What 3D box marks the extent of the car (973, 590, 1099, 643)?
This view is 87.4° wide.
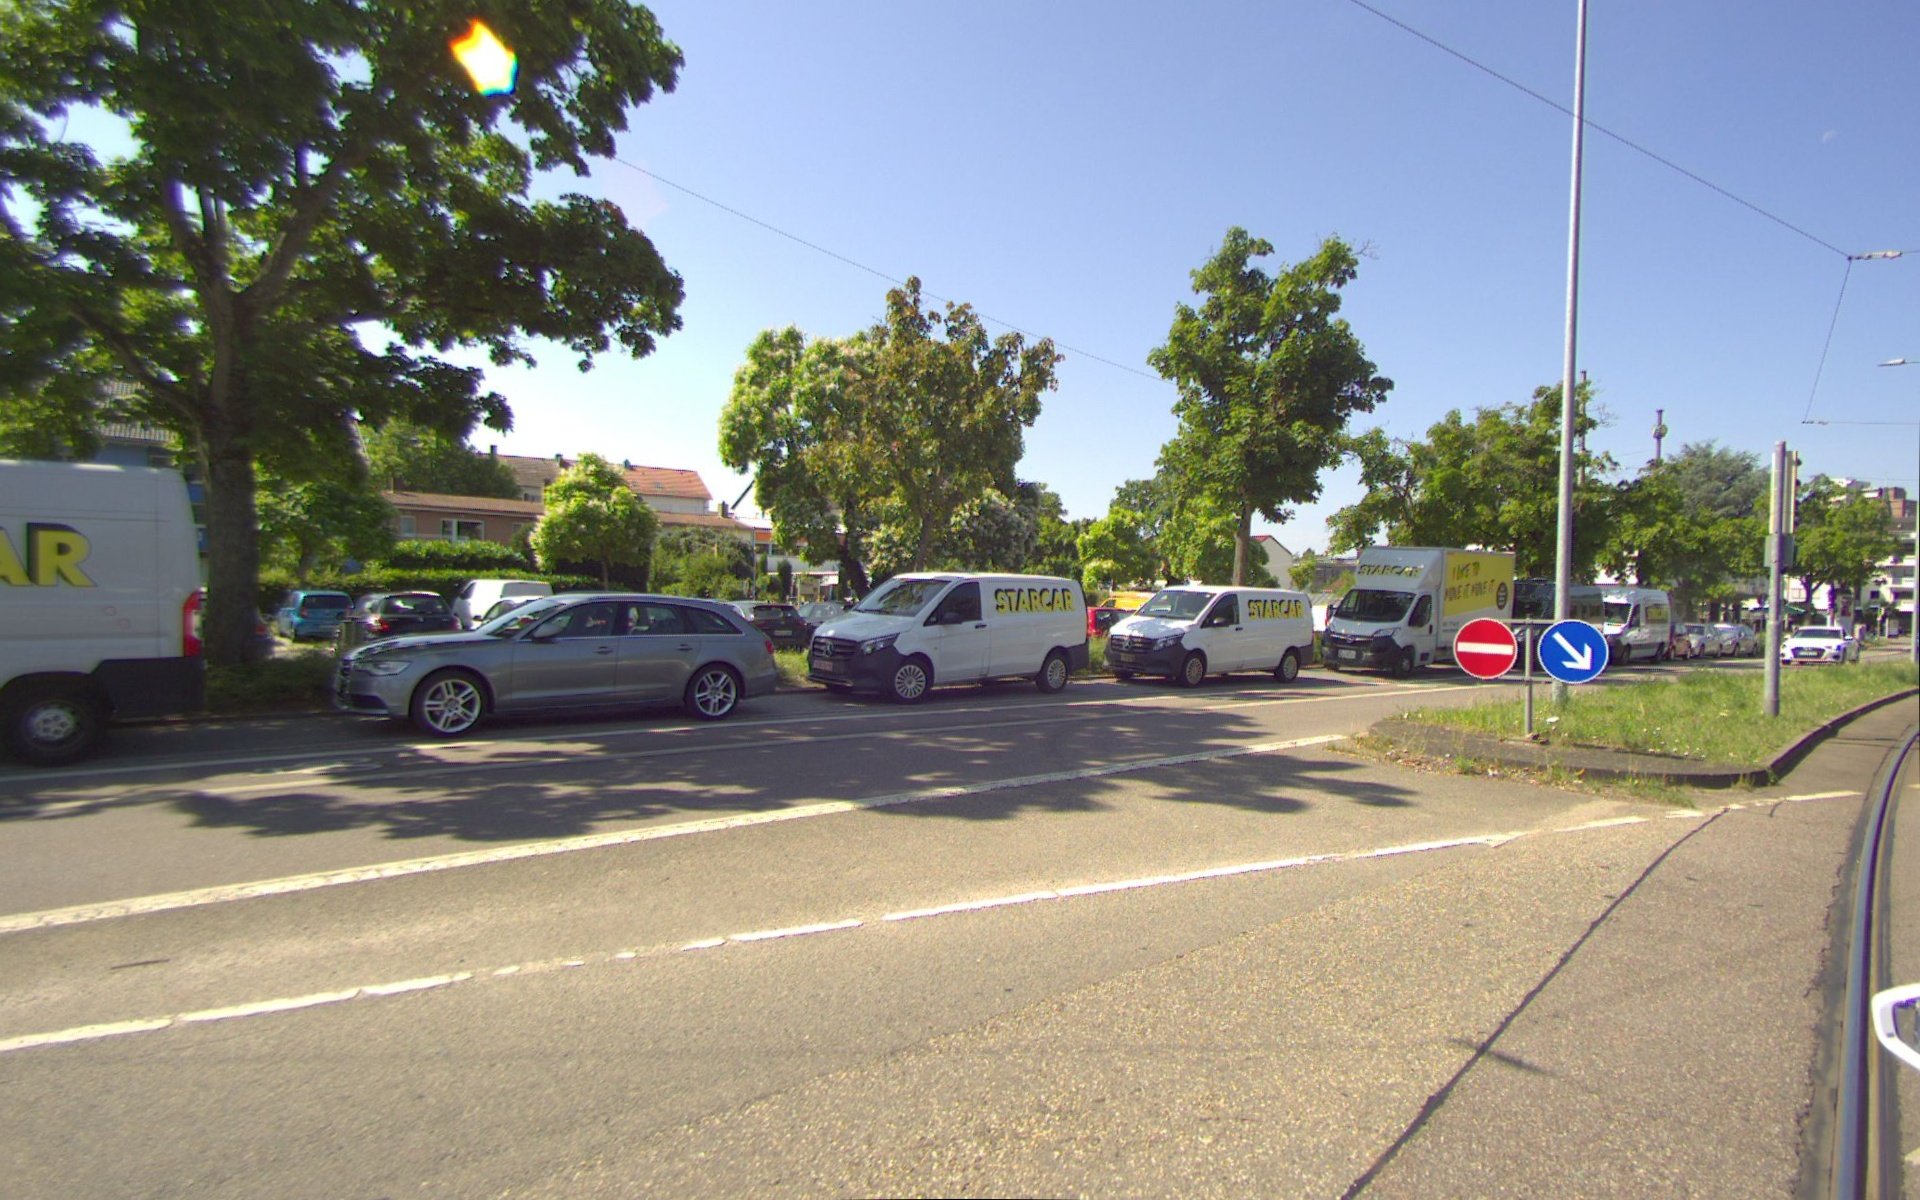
[{"bbox_3d":[2.317,0.480,31.412,1.650,1.564,3.953,1,0,-40],"label":"car"}]

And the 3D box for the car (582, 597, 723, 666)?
[{"bbox_3d":[-7.216,0.675,23.343,1.718,1.428,3.953,1,0,-40],"label":"car"}]

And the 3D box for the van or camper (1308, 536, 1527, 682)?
[{"bbox_3d":[11.763,0.210,25.541,6.714,3.285,2.178,1,2,-39],"label":"van or camper"}]

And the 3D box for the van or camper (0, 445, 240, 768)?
[{"bbox_3d":[-9.448,0.020,7.854,6.094,2.548,2.239,1,0,-39],"label":"van or camper"}]

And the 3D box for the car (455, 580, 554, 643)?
[{"bbox_3d":[-14.878,0.341,32.712,1.773,1.916,3.949,1,0,-43],"label":"car"}]

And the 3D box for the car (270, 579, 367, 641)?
[{"bbox_3d":[-19.348,0.271,30.229,1.773,1.751,3.949,1,0,-43],"label":"car"}]

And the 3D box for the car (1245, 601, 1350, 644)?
[{"bbox_3d":[14.380,0.949,42.975,1.651,1.717,3.951,1,0,-41],"label":"car"}]

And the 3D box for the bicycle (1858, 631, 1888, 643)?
[{"bbox_3d":[80.947,3.278,89.065,2.133,0.934,0.553,1,0,4],"label":"bicycle"}]

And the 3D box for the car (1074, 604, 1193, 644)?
[{"bbox_3d":[5.976,0.805,34.928,1.650,1.288,3.953,1,0,-40],"label":"car"}]

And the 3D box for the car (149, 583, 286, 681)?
[{"bbox_3d":[-13.474,0.512,18.142,1.651,1.564,3.951,1,0,-41],"label":"car"}]

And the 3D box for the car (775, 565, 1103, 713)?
[{"bbox_3d":[-0.179,0.545,16.159,5.150,1.967,2.174,1,2,-45],"label":"car"}]

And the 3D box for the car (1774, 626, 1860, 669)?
[{"bbox_3d":[31.817,1.725,37.255,4.300,1.441,1.776,2,-1,-40],"label":"car"}]

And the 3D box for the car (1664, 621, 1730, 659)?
[{"bbox_3d":[30.960,1.662,42.143,4.316,1.510,1.280,1,0,-41],"label":"car"}]

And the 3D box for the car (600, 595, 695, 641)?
[{"bbox_3d":[-11.480,0.616,36.735,1.773,1.565,3.949,1,0,-43],"label":"car"}]

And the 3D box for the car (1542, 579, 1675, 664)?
[{"bbox_3d":[22.718,0.725,35.083,5.930,2.666,2.177,1,2,-40],"label":"car"}]

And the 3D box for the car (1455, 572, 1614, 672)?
[{"bbox_3d":[17.666,0.633,30.741,6.030,2.704,2.177,1,2,-40],"label":"car"}]

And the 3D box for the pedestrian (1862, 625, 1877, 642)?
[{"bbox_3d":[81.132,3.018,89.632,0.799,1.507,0.566,1,0,4],"label":"pedestrian"}]

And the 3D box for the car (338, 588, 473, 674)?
[{"bbox_3d":[-11.307,0.568,20.366,1.650,1.564,3.953,1,0,-40],"label":"car"}]

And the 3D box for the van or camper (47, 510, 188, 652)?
[{"bbox_3d":[-22.484,-0.457,26.747,2.563,3.288,6.887,1,0,-42],"label":"van or camper"}]

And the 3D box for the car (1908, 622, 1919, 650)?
[{"bbox_3d":[58.468,2.147,60.142,4.623,1.618,2.025,1,0,-41],"label":"car"}]

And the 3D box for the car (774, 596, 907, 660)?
[{"bbox_3d":[-3.270,0.696,26.924,1.650,1.564,3.953,1,0,-40],"label":"car"}]

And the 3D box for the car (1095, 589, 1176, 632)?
[{"bbox_3d":[9.499,0.539,54.498,1.897,2.229,3.949,1,0,-43],"label":"car"}]

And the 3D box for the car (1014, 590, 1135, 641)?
[{"bbox_3d":[3.765,0.489,33.567,1.650,1.564,3.953,1,0,-40],"label":"car"}]

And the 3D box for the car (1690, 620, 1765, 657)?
[{"bbox_3d":[34.857,1.728,45.579,4.578,1.510,1.591,1,2,-39],"label":"car"}]

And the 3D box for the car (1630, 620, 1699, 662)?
[{"bbox_3d":[27.445,1.562,39.106,3.647,1.510,1.281,1,1,-40],"label":"car"}]

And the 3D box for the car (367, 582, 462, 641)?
[{"bbox_3d":[-17.460,0.333,32.076,1.723,1.751,3.949,1,0,-43],"label":"car"}]

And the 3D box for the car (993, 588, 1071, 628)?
[{"bbox_3d":[3.805,0.400,53.546,1.897,2.030,3.949,1,0,-43],"label":"car"}]

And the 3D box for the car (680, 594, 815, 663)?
[{"bbox_3d":[-5.389,0.670,25.172,1.650,1.564,3.953,1,0,-40],"label":"car"}]

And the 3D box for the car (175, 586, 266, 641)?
[{"bbox_3d":[-20.984,0.340,28.448,1.690,1.455,3.950,1,0,-42],"label":"car"}]

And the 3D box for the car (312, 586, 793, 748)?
[{"bbox_3d":[-4.564,0.666,11.740,4.847,1.474,1.915,1,1,-41],"label":"car"}]

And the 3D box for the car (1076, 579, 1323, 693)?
[{"bbox_3d":[4.962,0.663,20.424,5.141,1.967,2.178,1,2,-39],"label":"car"}]

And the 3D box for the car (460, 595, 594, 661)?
[{"bbox_3d":[-9.542,0.559,22.005,1.650,1.288,3.882,1,0,-40],"label":"car"}]
